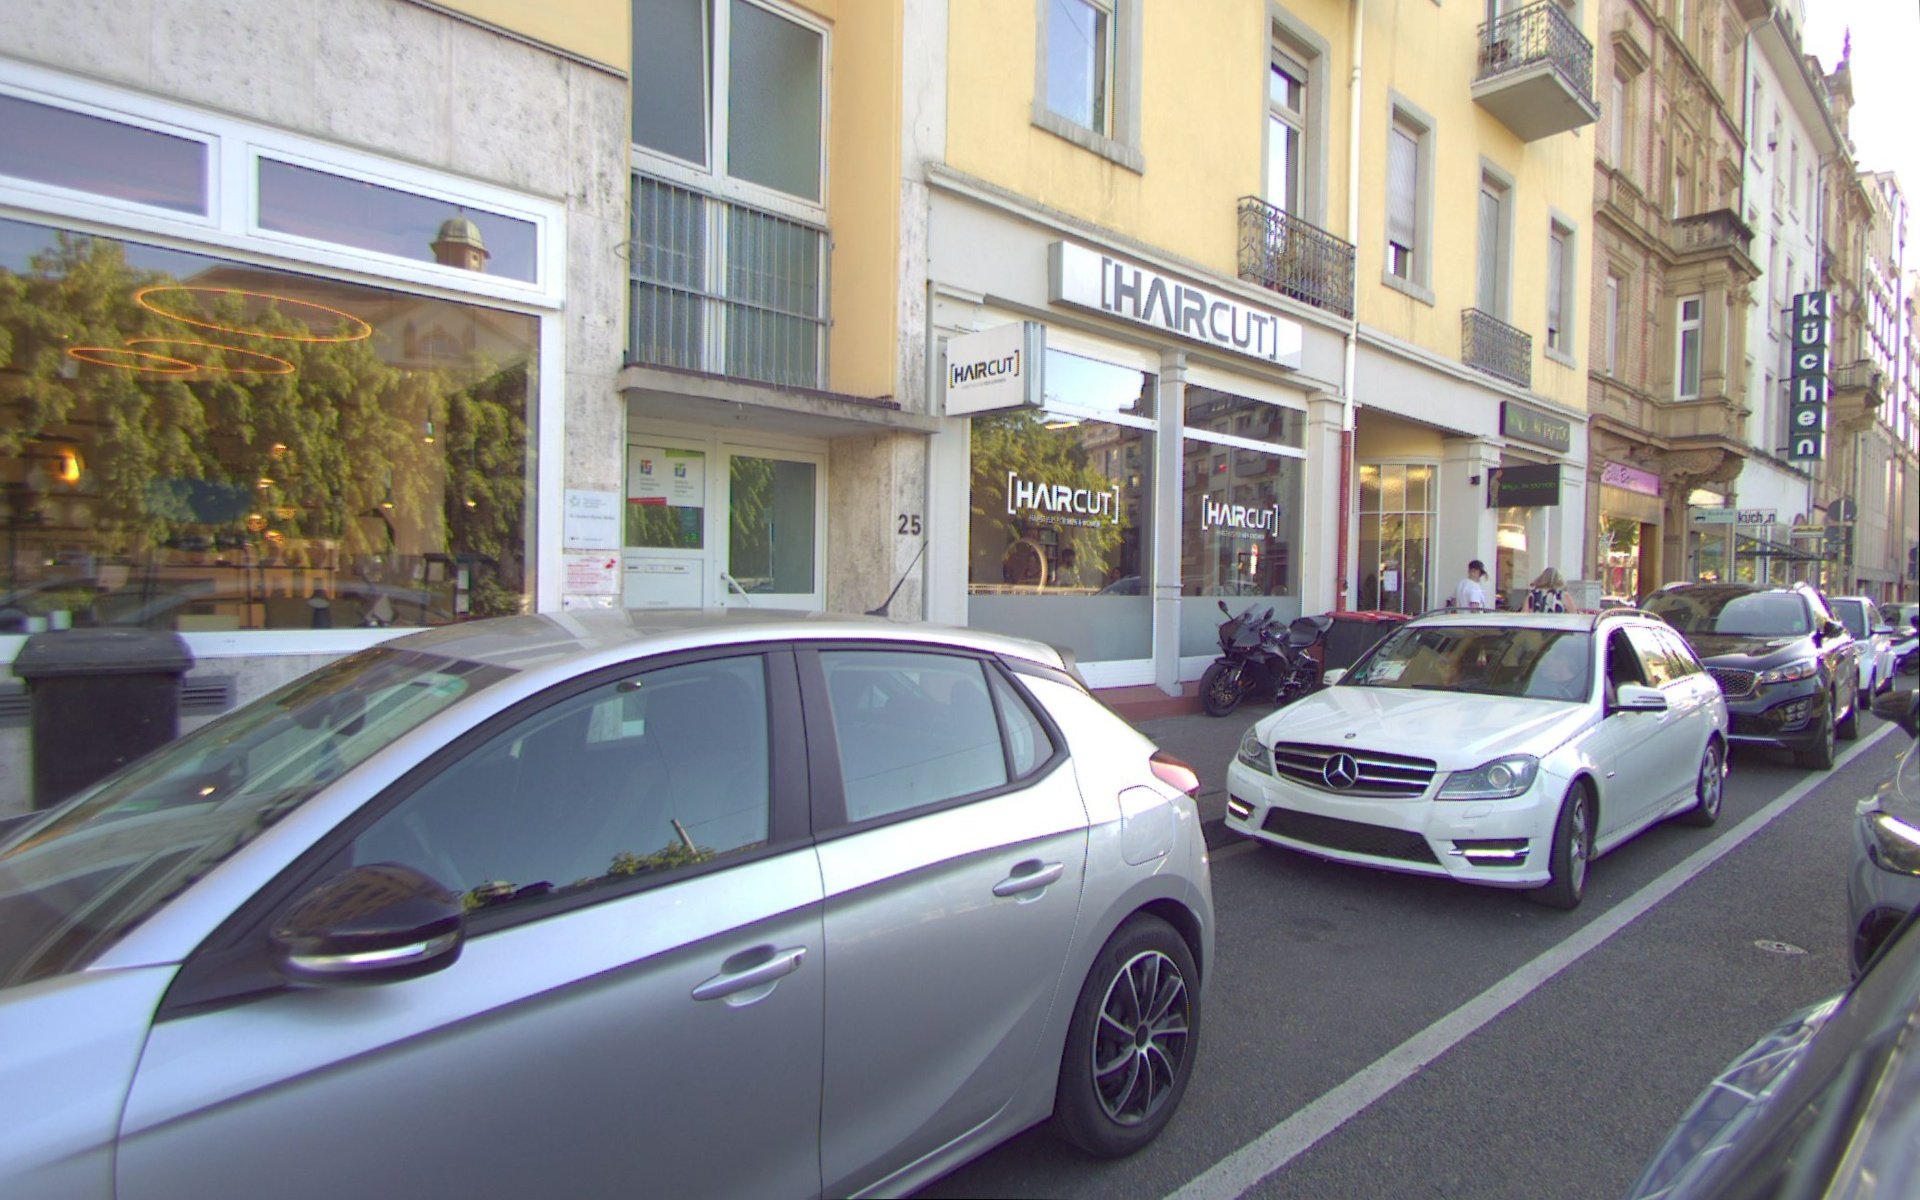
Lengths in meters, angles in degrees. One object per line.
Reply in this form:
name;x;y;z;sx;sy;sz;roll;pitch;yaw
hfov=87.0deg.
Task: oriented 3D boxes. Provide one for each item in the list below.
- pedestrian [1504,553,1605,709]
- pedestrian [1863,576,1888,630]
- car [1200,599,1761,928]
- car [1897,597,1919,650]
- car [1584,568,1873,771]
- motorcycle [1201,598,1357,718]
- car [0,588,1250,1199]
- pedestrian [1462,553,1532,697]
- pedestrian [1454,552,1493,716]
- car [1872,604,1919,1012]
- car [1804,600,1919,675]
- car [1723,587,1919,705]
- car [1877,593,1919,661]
pedestrian;6.748;0.338;11.492;0.595;1.674;0.719;2;3;-41
pedestrian;32.435;0.097;35.861;0.653;1.874;0.574;0;0;-40
car;3.522;0.704;6.437;4.302;1.376;1.703;-1;0;-41
car;26.626;0.610;27.195;3.773;1.357;1.800;-1;1;-42
car;7.993;0.540;10.374;4.176;1.659;1.799;-1;0;-45
motorcycle;3.318;0.550;10.441;1.920;1.091;0.567;-1;4;-41
car;-1.002;0.701;2.296;3.597;1.445;1.549;-1;1;-42
pedestrian;7.203;0.323;13.575;0.565;1.874;0.664;0;0;-39
pedestrian;6.493;0.403;12.785;0.371;2.008;0.687;1;1;30
car;5.253;0.708;4.227;3.932;1.376;1.800;-1;1;-43
car;18.125;0.672;19.915;4.016;1.282;1.800;-1;1;-42
car;13.112;0.584;15.310;4.016;1.546;1.800;-1;0;-42
car;22.255;0.571;23.042;4.016;1.450;1.657;-1;0;-42
